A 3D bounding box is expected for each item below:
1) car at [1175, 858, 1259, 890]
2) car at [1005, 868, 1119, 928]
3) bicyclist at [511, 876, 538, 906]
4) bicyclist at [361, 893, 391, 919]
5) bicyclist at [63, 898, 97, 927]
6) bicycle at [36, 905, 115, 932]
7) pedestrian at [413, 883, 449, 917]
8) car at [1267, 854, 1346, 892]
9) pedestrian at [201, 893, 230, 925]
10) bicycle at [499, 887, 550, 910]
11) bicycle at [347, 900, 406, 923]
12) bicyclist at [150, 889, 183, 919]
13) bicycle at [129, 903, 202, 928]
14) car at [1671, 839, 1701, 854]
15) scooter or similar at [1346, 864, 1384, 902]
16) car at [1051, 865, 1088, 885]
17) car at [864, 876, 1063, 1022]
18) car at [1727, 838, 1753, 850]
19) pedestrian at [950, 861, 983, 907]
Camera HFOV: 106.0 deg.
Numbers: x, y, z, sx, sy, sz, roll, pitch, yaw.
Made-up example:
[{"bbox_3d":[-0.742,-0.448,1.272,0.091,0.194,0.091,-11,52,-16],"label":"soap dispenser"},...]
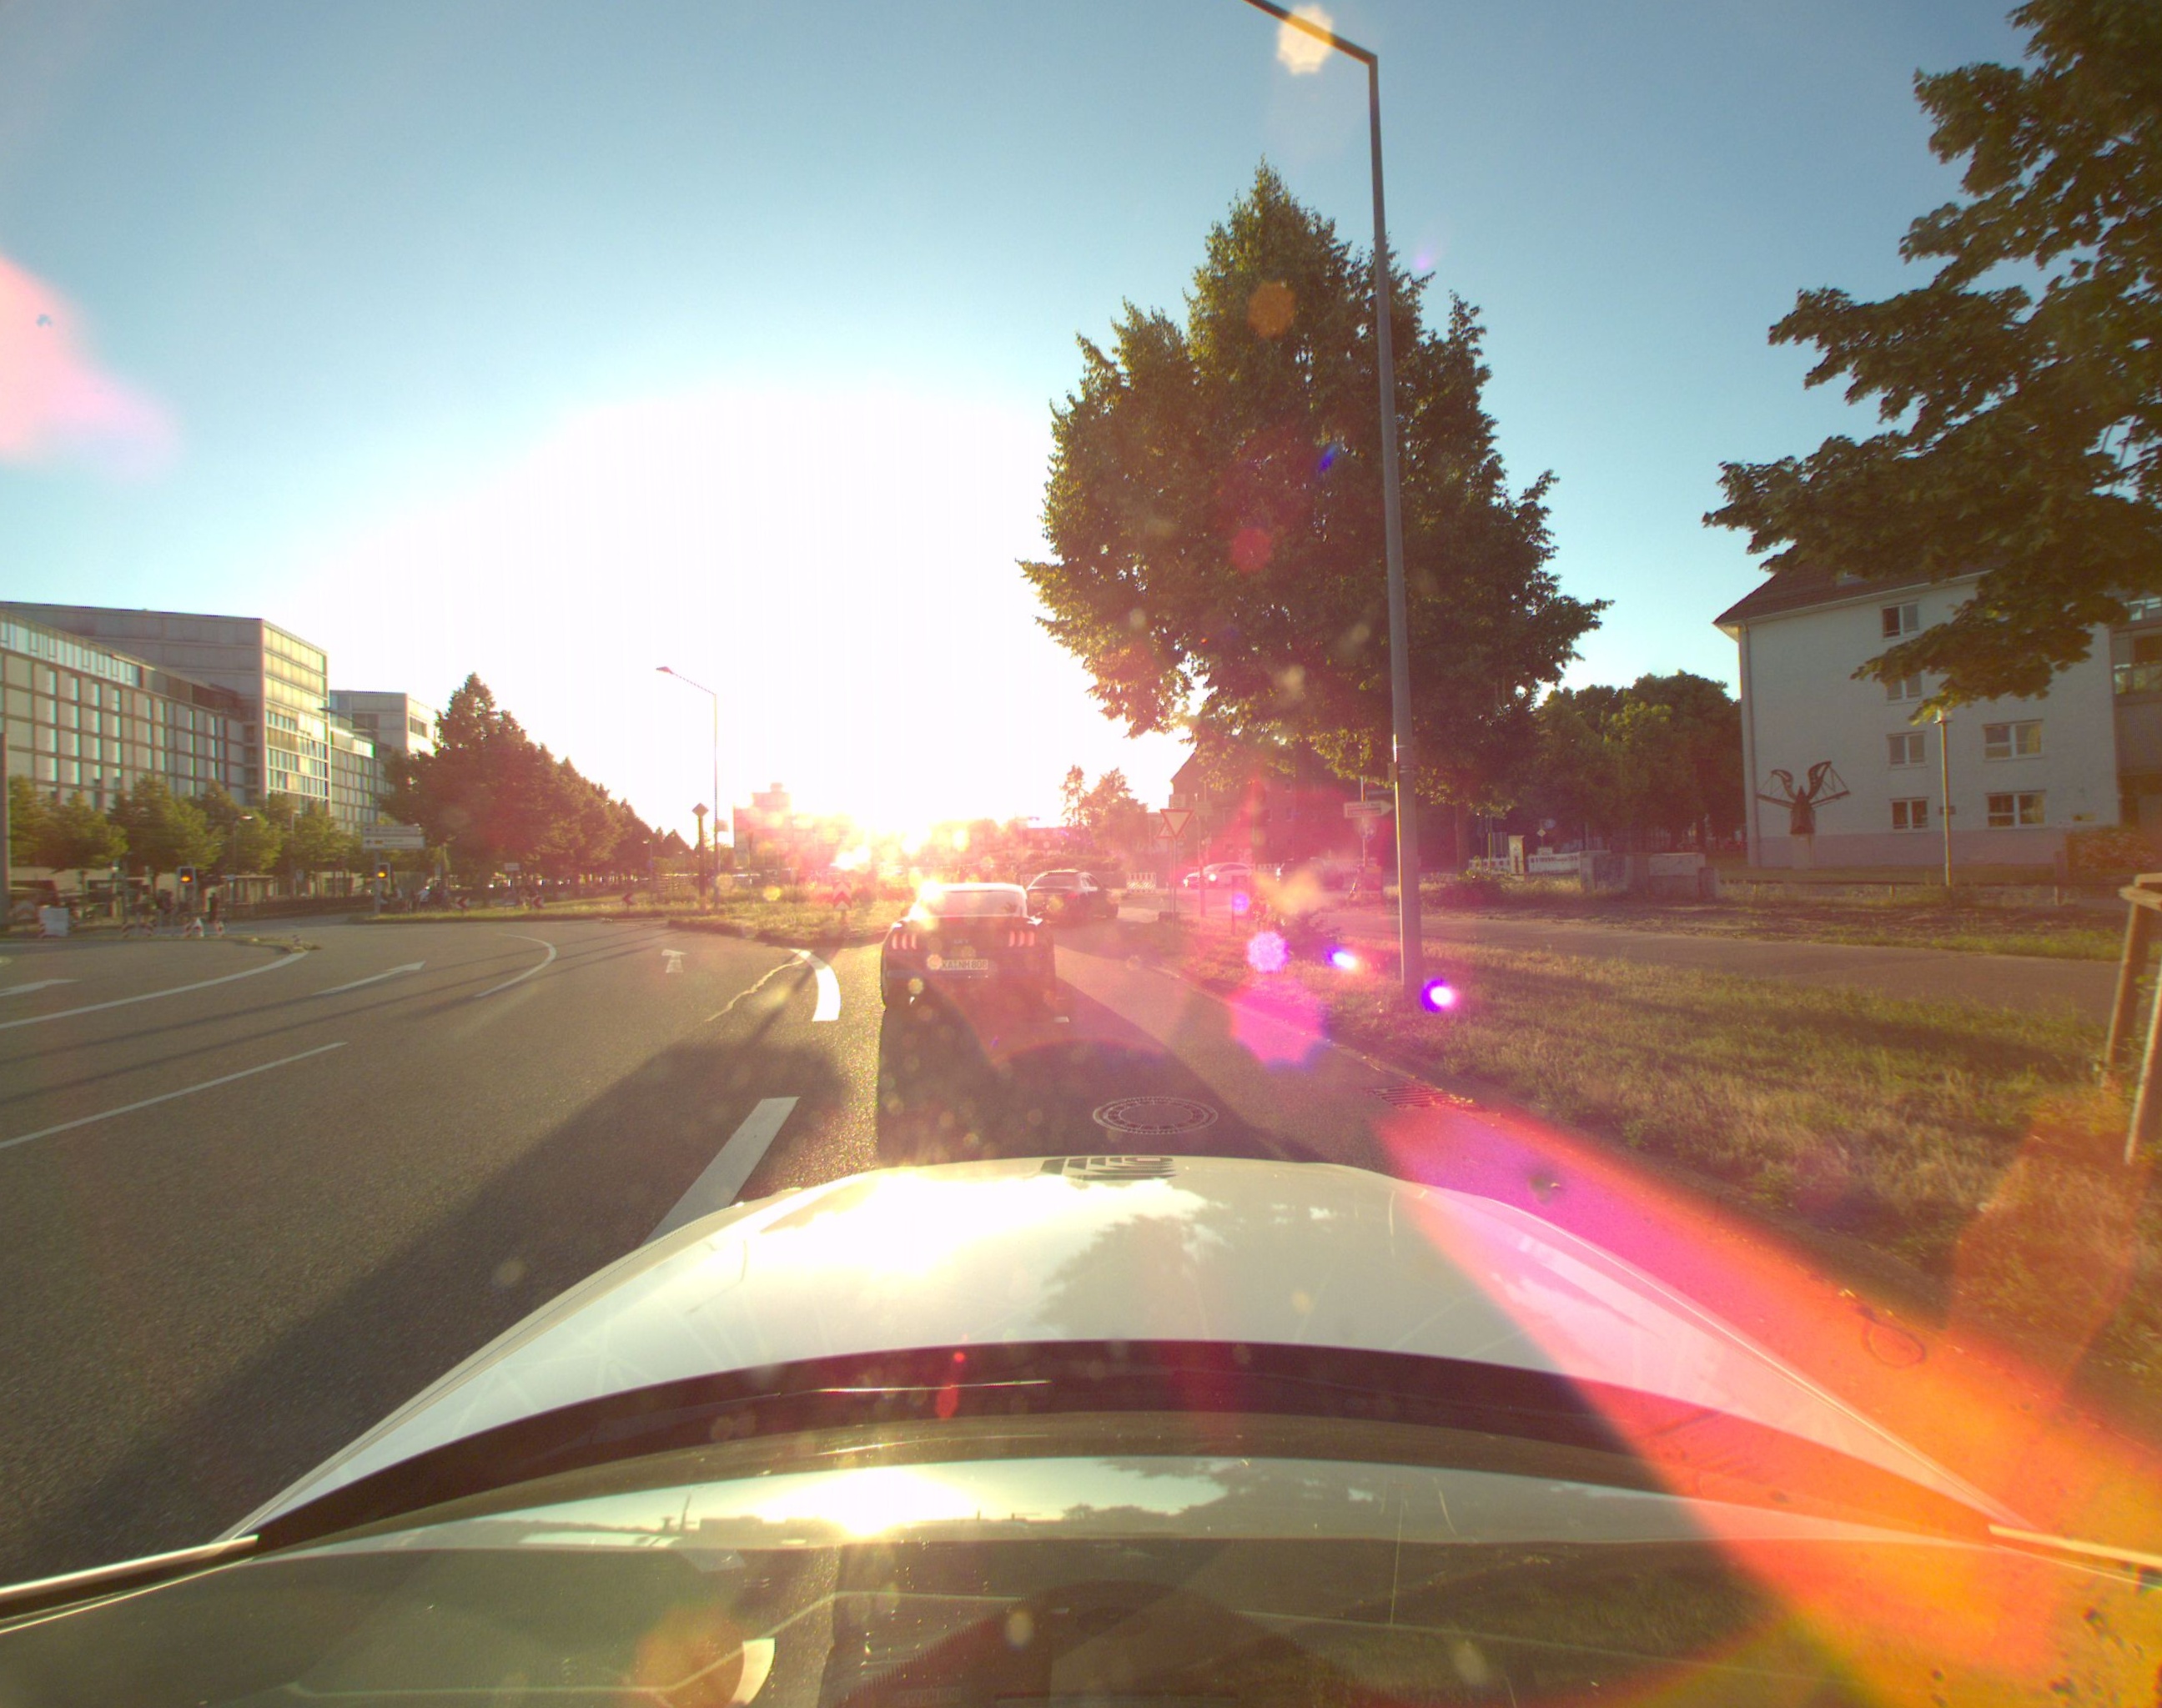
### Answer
[{"bbox_3d":[7.965,1.143,47.537,4.676,1.452,2.053,-4,3,-34],"label":"car"},{"bbox_3d":[-0.392,1.152,22.695,1.936,1.427,4.448,-1,0,15],"label":"car"},{"bbox_3d":[-31.109,2.043,45.513,0.969,1.612,0.756,-2,-1,7],"label":"bicyclist"},{"bbox_3d":[-38.678,2.843,44.697,0.975,1.394,0.752,-2,-1,-8],"label":"bicyclist"},{"bbox_3d":[-51.234,2.972,41.701,0.882,1.392,0.747,-1,-1,-32],"label":"bicyclist"},{"bbox_3d":[-51.312,3.287,41.599,2.418,1.167,0.747,-1,-1,-32],"label":"bicycle"},{"bbox_3d":[-35.890,2.538,44.992,1.154,1.827,0.979,-2,-1,0],"label":"pedestrian"},{"bbox_3d":[11.151,0.915,40.164,4.101,1.602,1.933,-2,-2,-45],"label":"car"},{"bbox_3d":[-49.070,3.106,46.183,0.891,1.707,0.787,-1,-1,-29],"label":"pedestrian"},{"bbox_3d":[-31.108,2.491,45.525,2.388,1.167,0.756,-2,-1,7],"label":"bicycle"},{"bbox_3d":[-38.683,3.151,44.710,2.400,1.167,0.752,-2,-1,-8],"label":"bicycle"},{"bbox_3d":[-48.461,2.660,43.176,0.982,1.525,0.746,-1,-1,-35],"label":"bicyclist"},{"bbox_3d":[-48.488,3.233,43.175,2.419,1.167,0.746,-1,-1,-35],"label":"bicycle"},{"bbox_3d":[68.097,-0.868,91.631,4.100,1.602,1.934,-1,-1,-43],"label":"car"},{"bbox_3d":[9.587,0.970,27.508,1.117,1.238,0.442,-2,-1,-3],"label":"scooter or similar"},{"bbox_3d":[-1.101,1.955,75.578,2.003,1.706,3.967,-1,-1,-24],"label":"car"},{"bbox_3d":[-1.370,1.004,10.474,1.948,1.342,4.662,-1,-1,-5],"label":"car"},{"bbox_3d":[87.219,-1.327,107.778,4.099,1.602,1.934,-1,-1,-41],"label":"car"},{"bbox_3d":[-4.267,1.114,30.371,0.851,1.686,0.876,-1,-1,-41],"label":"pedestrian"}]
